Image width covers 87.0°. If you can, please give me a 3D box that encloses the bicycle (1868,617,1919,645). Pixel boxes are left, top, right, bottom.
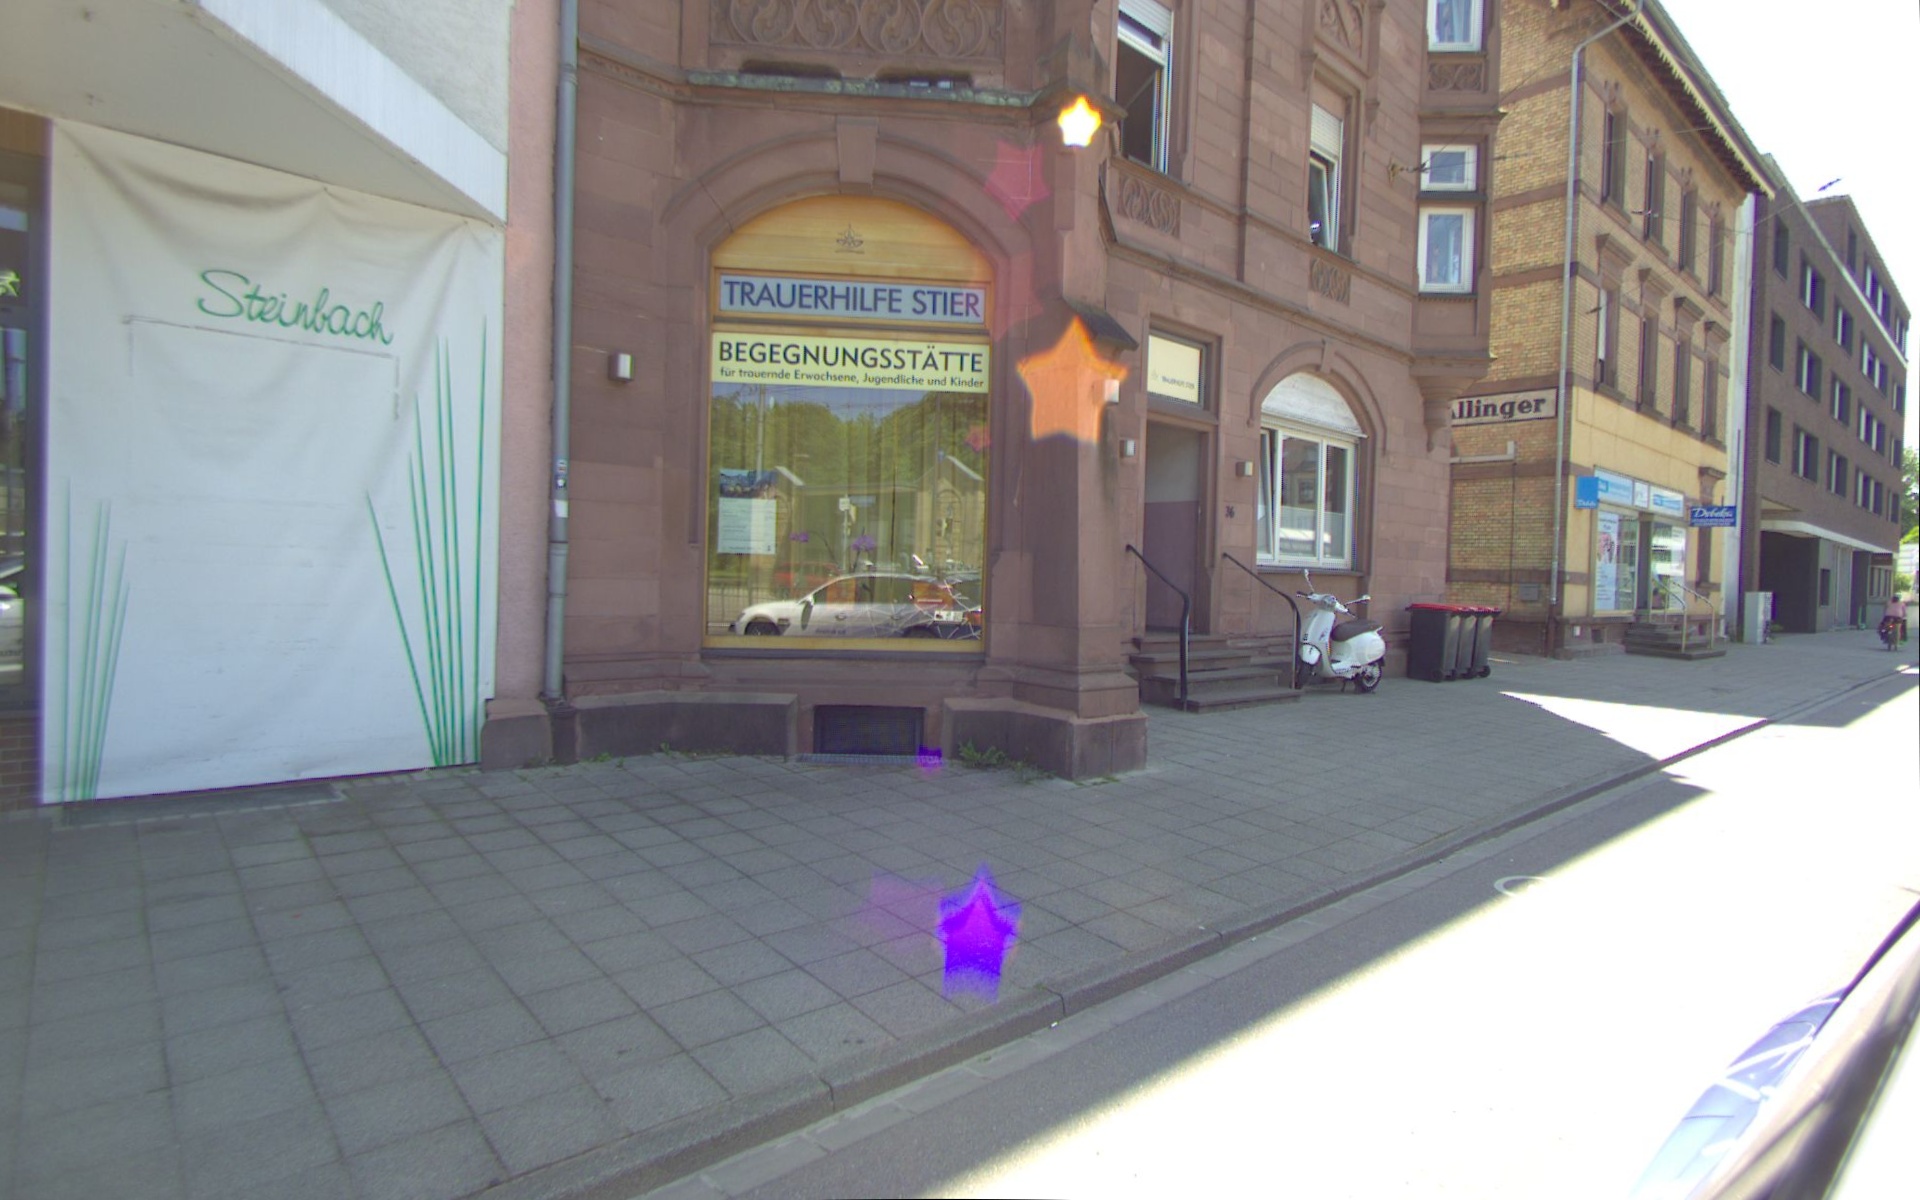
[{"bbox_3d":[28.058,0.923,30.138,1.868,0.807,0.692,1,1,-19],"label":"bicycle"}]

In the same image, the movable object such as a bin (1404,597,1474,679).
[{"bbox_3d":[6.662,0.518,14.083,0.549,1.061,0.649,0,4,-42],"label":"movable object such as a bin"}]

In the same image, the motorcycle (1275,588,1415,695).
[{"bbox_3d":[4.526,0.456,11.841,1.843,1.163,0.529,1,1,-33],"label":"motorcycle"}]

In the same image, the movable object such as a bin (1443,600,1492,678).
[{"bbox_3d":[7.192,0.544,14.343,0.549,1.061,0.376,0,4,-42],"label":"movable object such as a bin"}]

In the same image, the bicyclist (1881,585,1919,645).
[{"bbox_3d":[28.192,0.443,30.184,0.909,1.744,0.673,1,1,-19],"label":"bicyclist"}]

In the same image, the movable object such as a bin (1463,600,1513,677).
[{"bbox_3d":[7.669,0.548,14.700,0.646,1.061,0.376,0,4,-42],"label":"movable object such as a bin"}]
